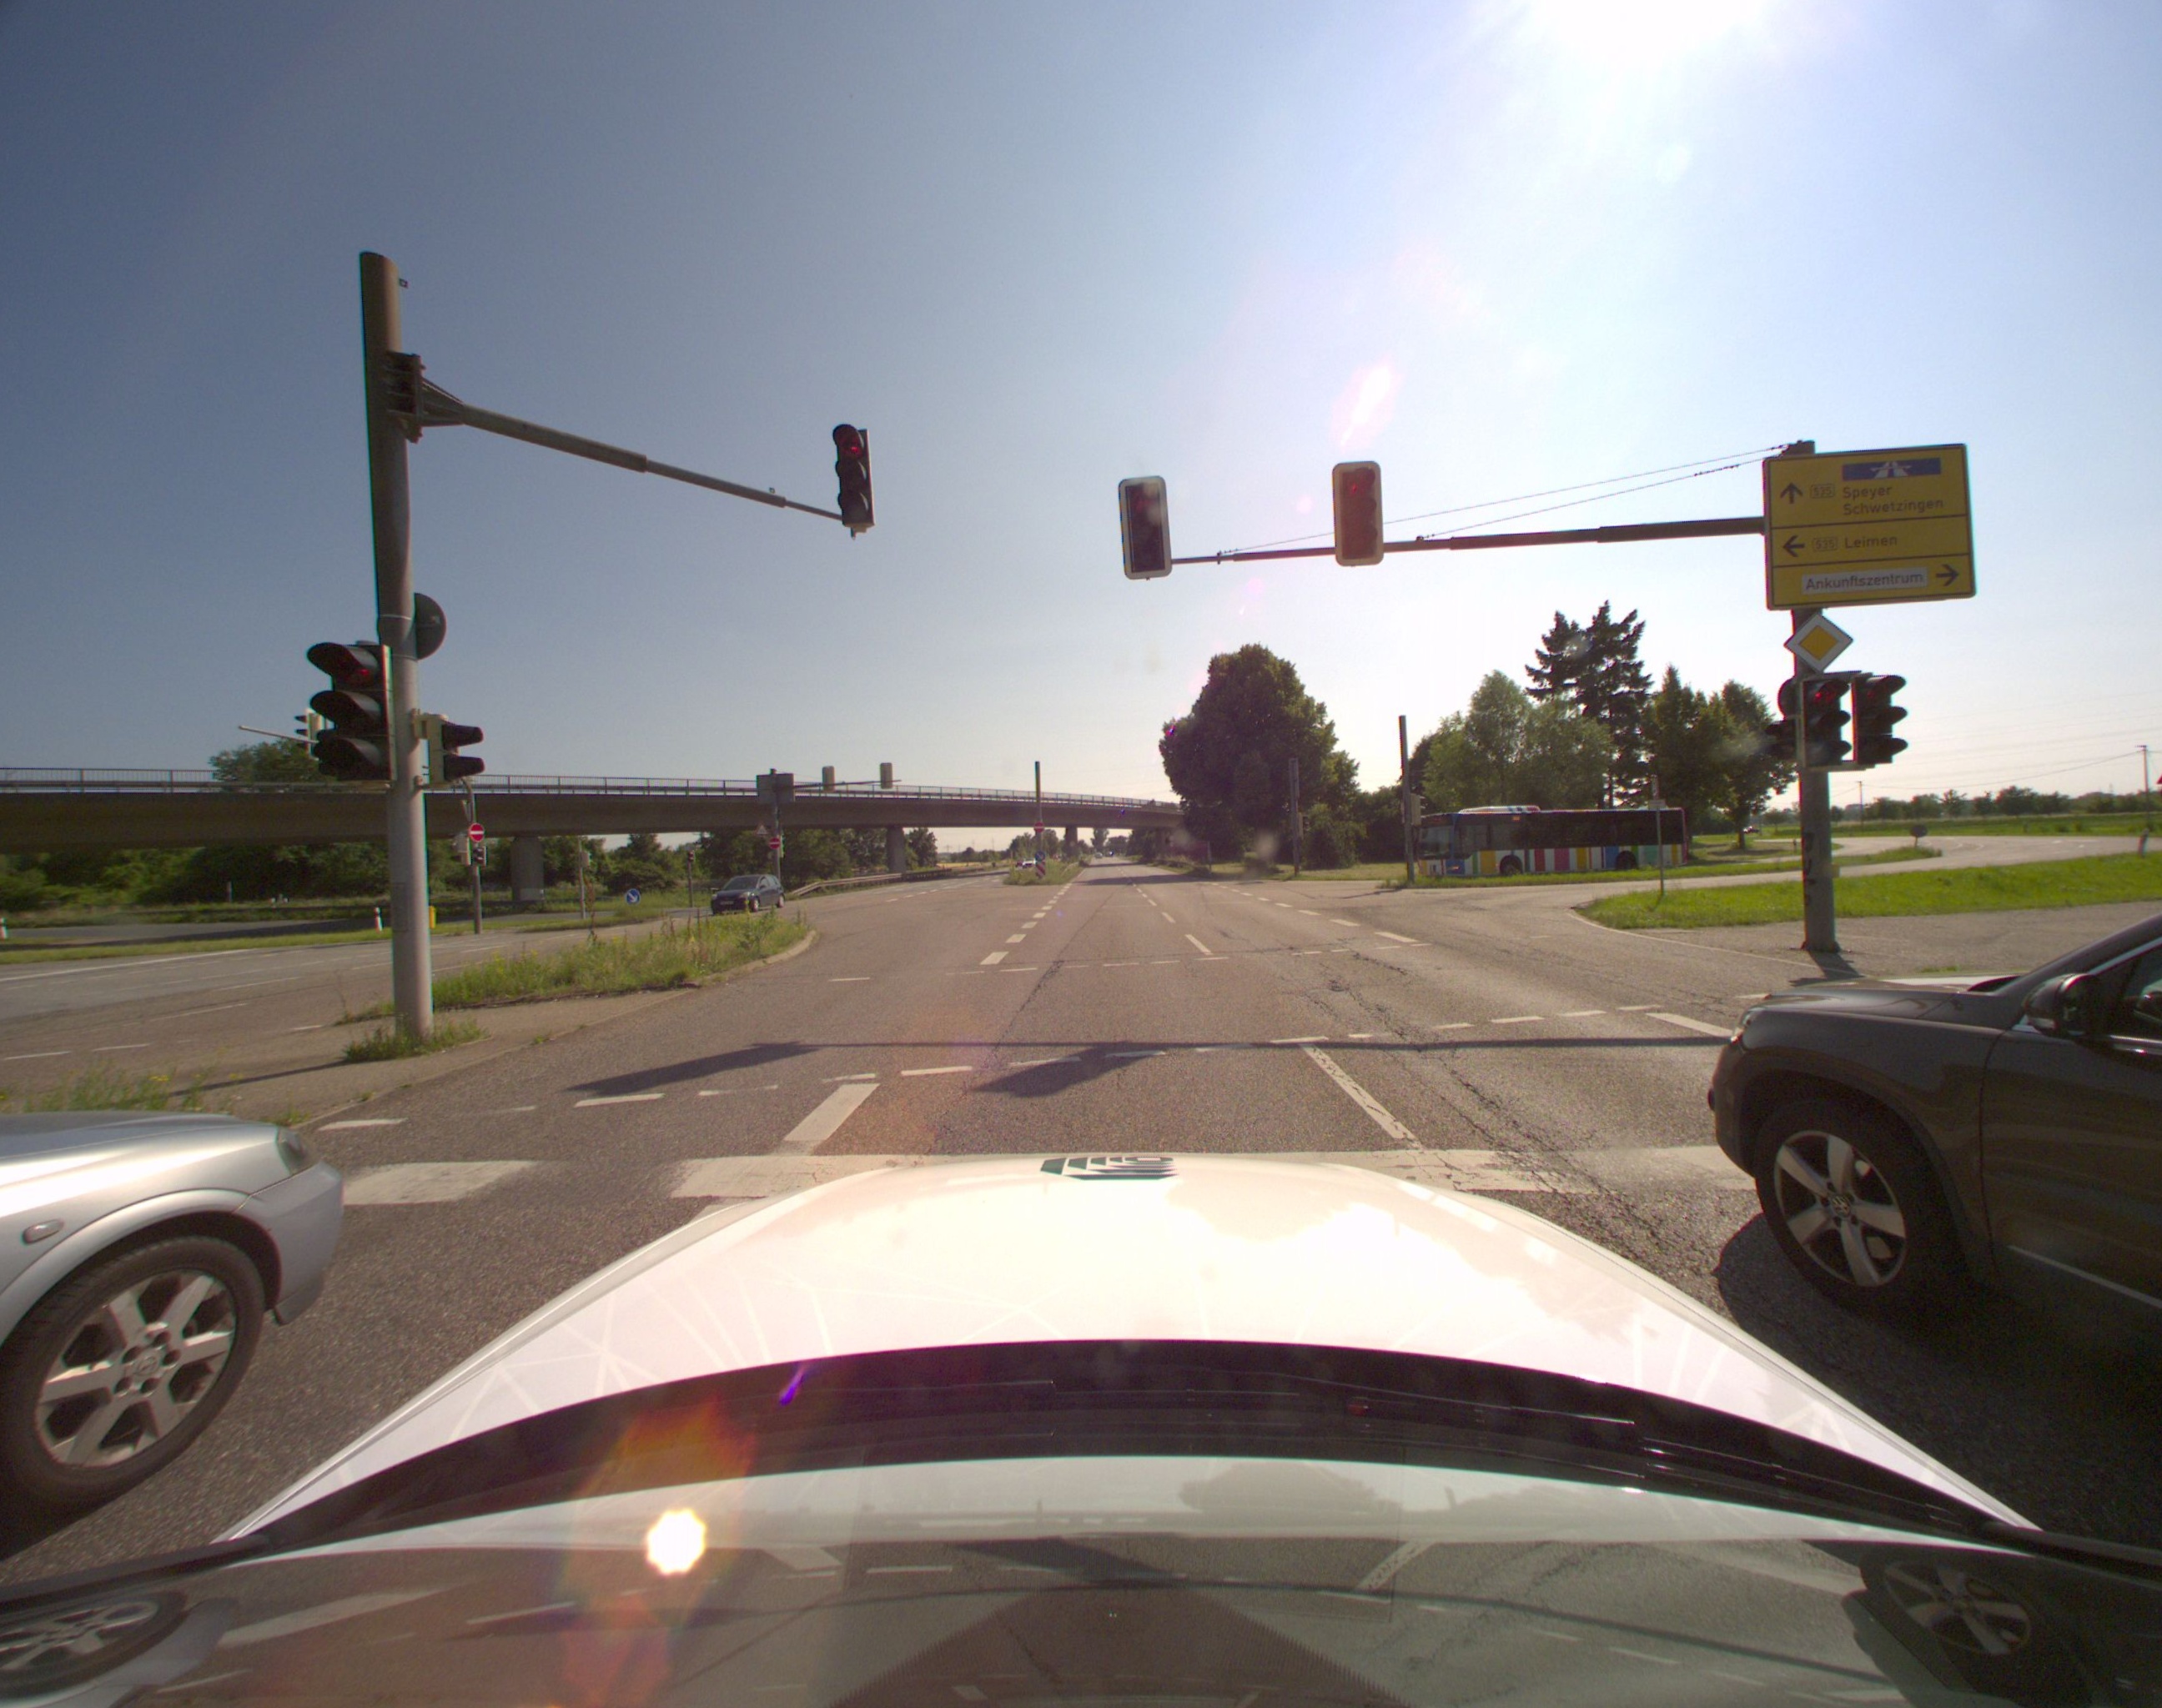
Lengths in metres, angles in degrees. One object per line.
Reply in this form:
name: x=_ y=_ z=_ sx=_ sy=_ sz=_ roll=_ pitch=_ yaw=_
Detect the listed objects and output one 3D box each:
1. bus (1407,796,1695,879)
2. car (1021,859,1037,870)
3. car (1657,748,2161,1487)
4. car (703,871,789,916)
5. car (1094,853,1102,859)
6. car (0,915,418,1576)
bus: x=20.234 y=-0.726 z=35.040 sx=11.954 sy=2.877 sz=2.928 roll=-3 pitch=0 yaw=-14
car: x=-7.308 y=1.455 z=114.558 sx=1.850 sy=1.448 sz=4.241 roll=-5 pitch=0 yaw=1
car: x=3.280 y=0.580 z=1.365 sx=1.749 sy=1.655 sz=4.147 roll=-1 pitch=0 yaw=1
car: x=-13.103 y=1.505 z=32.058 sx=1.608 sy=1.442 sz=3.777 roll=-5 pitch=0 yaw=2
car: x=4.560 y=0.469 z=217.904 sx=1.843 sy=1.460 sz=4.003 roll=-4 pitch=0 yaw=3
car: x=-3.214 y=0.919 z=0.763 sx=1.667 sy=1.335 sz=4.100 roll=-3 pitch=0 yaw=2
